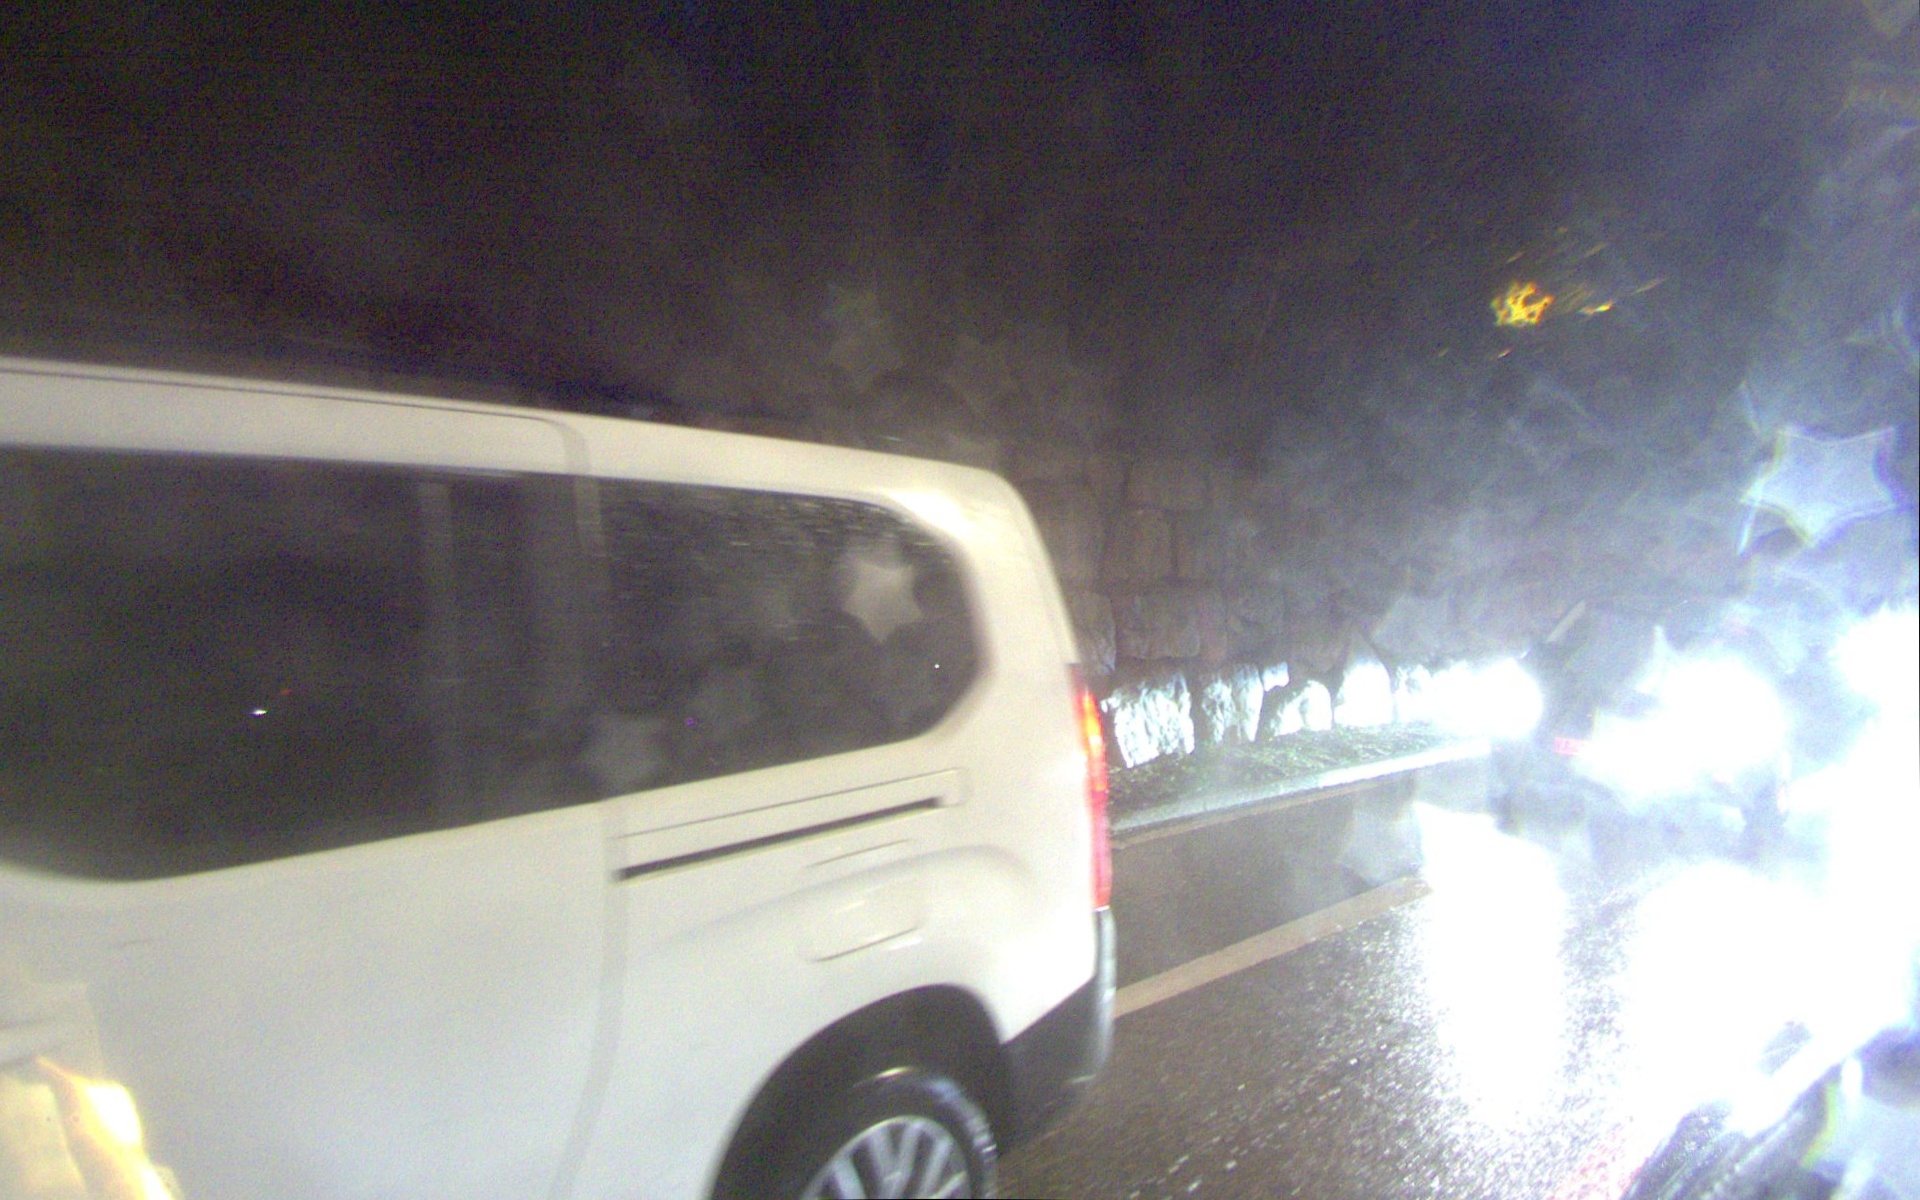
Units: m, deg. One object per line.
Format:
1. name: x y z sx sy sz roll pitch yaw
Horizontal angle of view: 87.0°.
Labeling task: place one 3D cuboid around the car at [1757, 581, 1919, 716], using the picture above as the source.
1. car: 13.057 0.598 14.484 4.358 1.669 1.787 0 0 -41

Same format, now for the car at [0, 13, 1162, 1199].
1. car: -1.788 0.446 1.413 4.502 2.047 1.793 0 1 -43

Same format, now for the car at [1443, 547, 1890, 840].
1. car: 5.670 0.534 7.933 4.142 1.715 1.790 0 0 -39
